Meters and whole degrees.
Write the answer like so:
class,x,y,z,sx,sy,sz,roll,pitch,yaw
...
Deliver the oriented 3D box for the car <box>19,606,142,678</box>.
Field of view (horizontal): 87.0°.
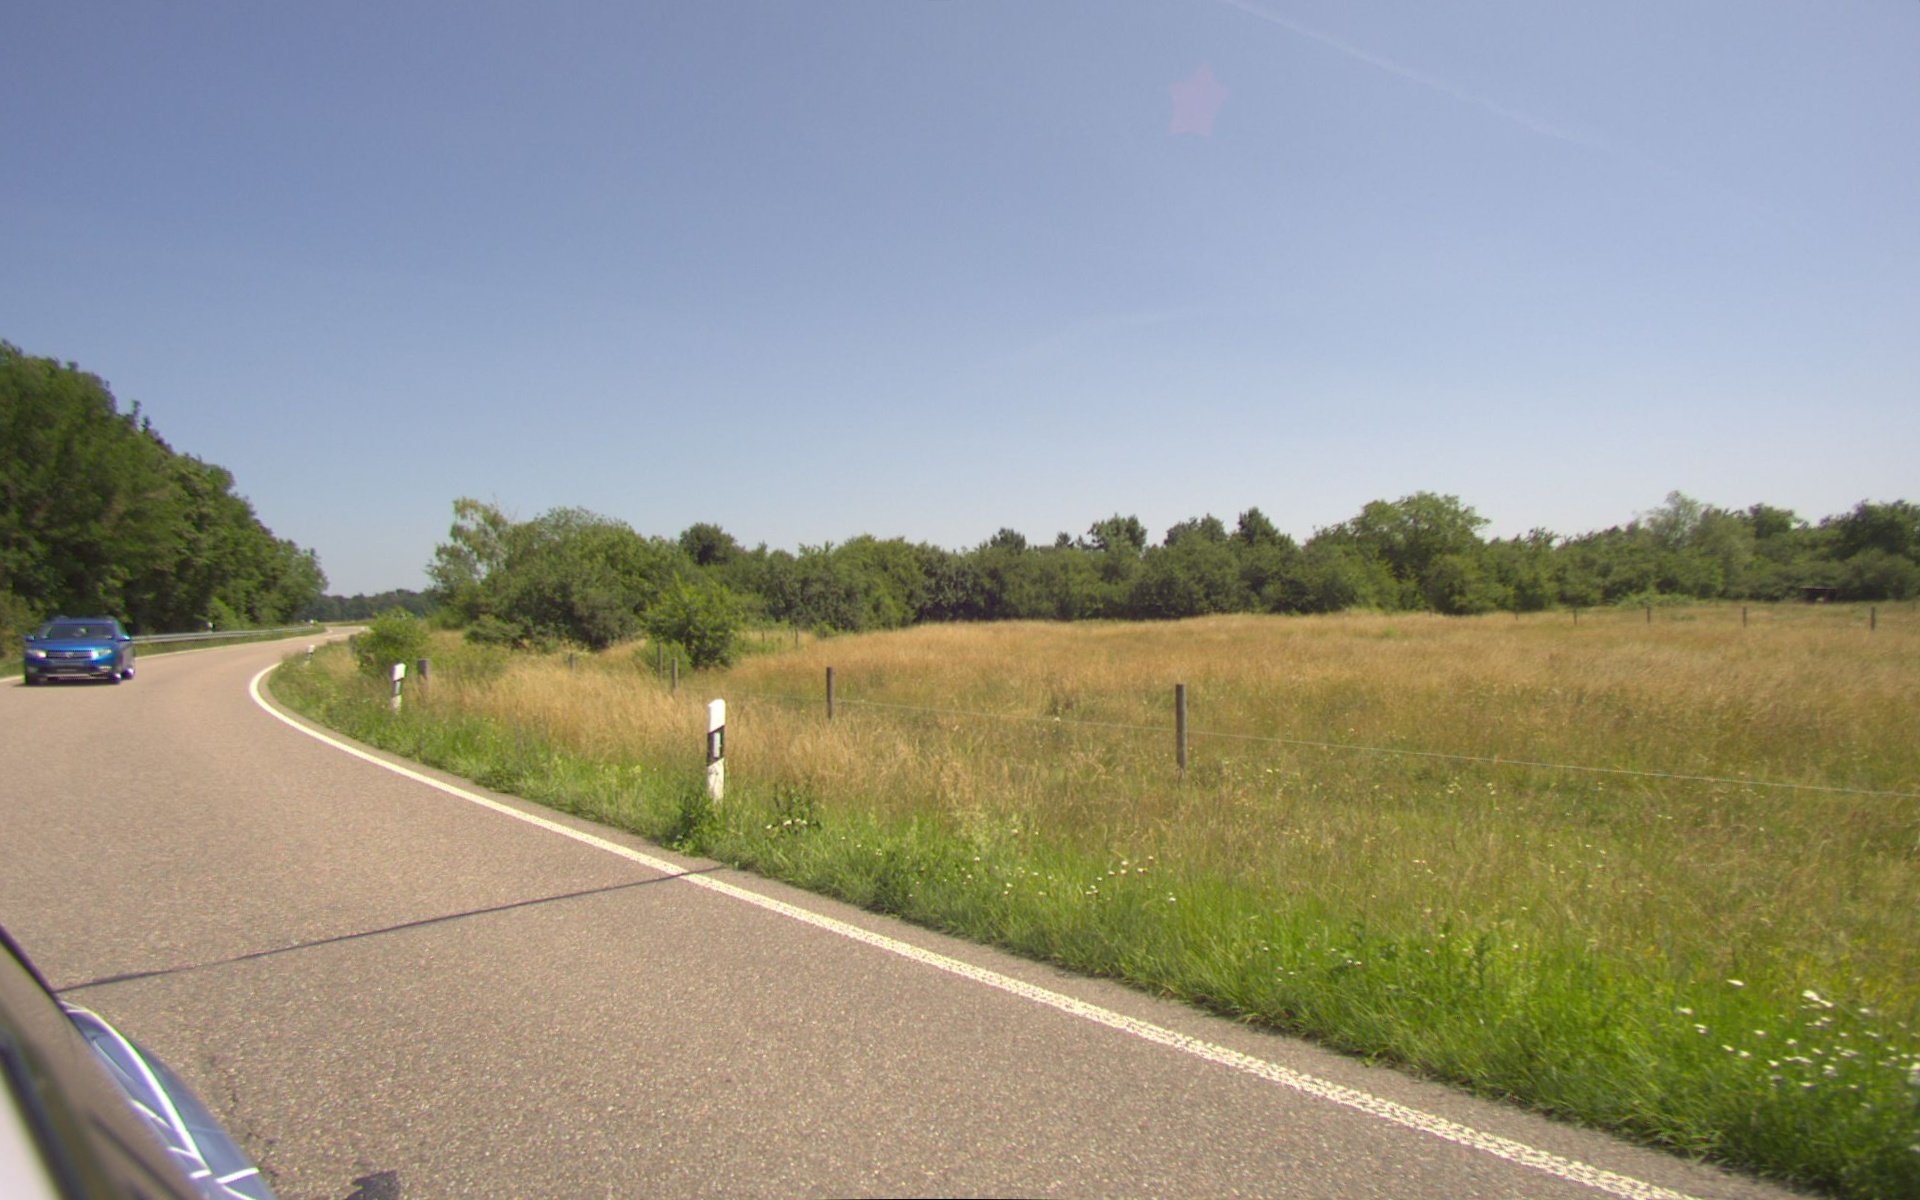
class,x,y,z,sx,sy,sz,roll,pitch,yaw
car,-21.298,0.965,24.663,1.706,1.593,4.011,2,-1,-33
